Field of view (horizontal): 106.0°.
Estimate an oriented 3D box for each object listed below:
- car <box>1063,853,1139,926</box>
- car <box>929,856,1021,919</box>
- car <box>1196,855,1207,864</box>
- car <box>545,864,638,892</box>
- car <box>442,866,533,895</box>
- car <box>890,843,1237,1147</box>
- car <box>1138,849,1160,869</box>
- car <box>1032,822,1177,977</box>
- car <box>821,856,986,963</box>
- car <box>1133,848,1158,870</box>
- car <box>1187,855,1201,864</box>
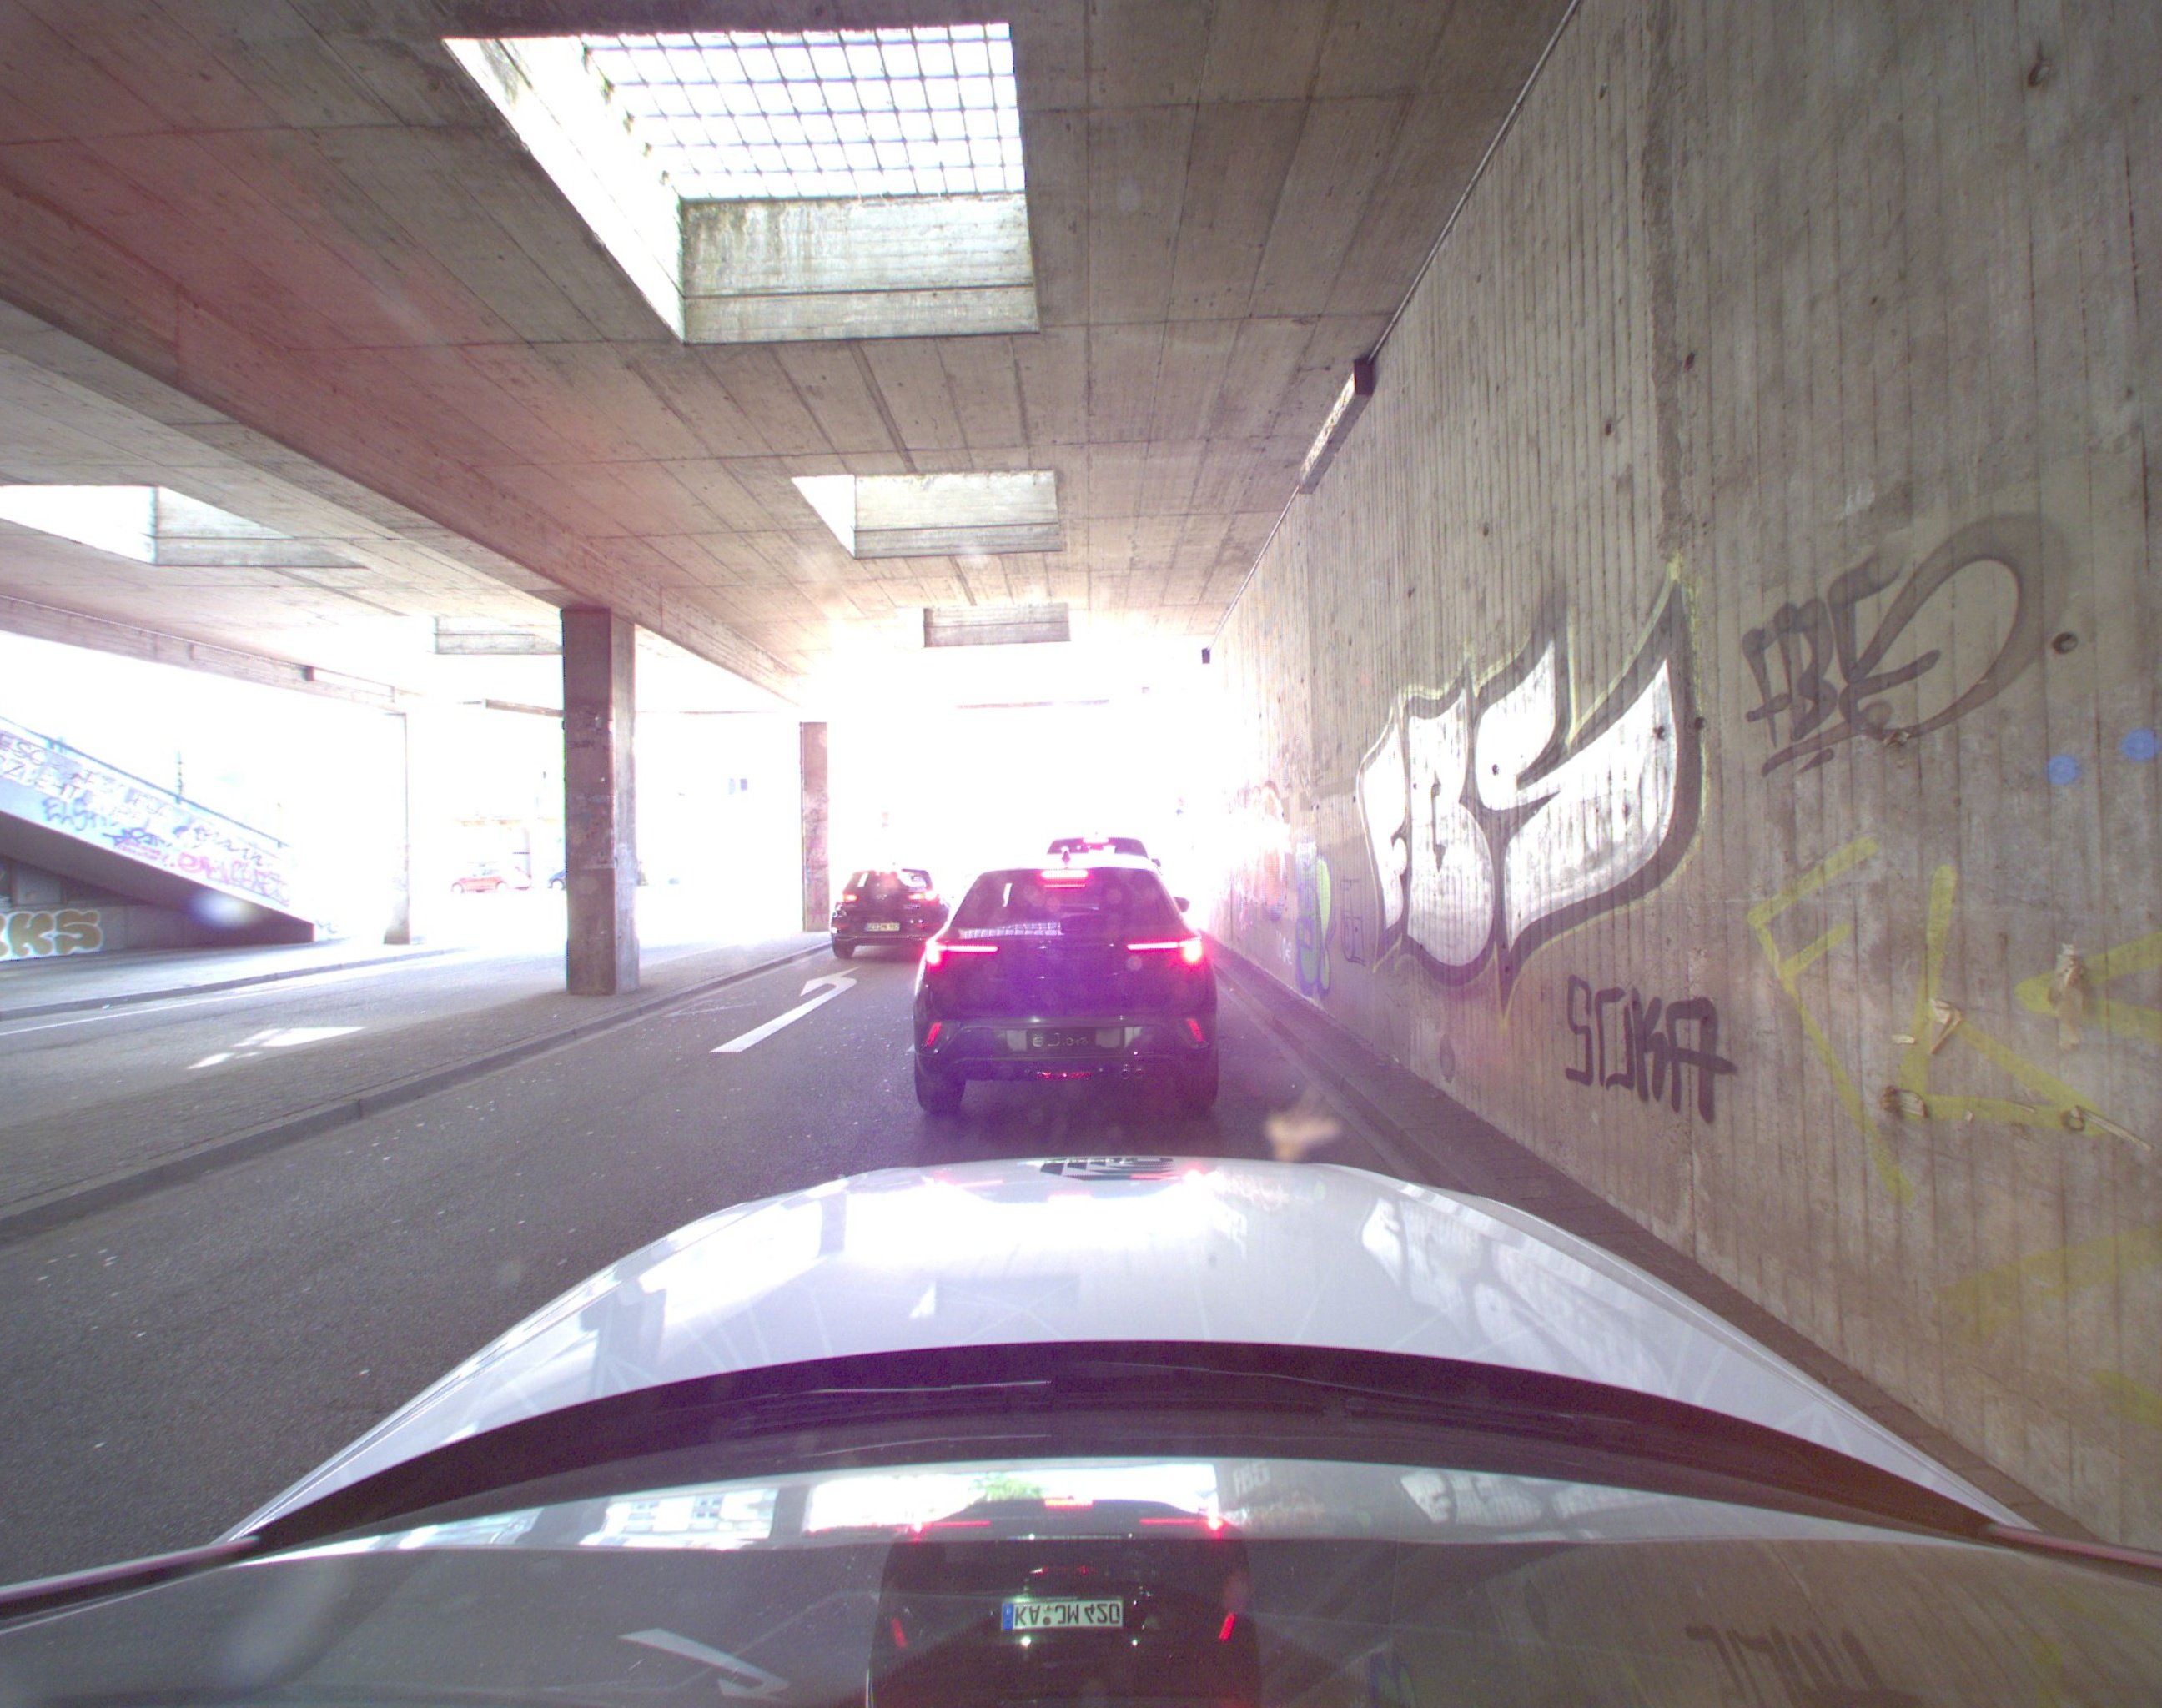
[{"bbox_3d":[0.493,0.761,19.381,1.603,1.513,4.055,-1,0,2],"label":"car"},{"bbox_3d":[-2.660,0.797,21.210,1.755,1.480,3.846,-1,0,2],"label":"car"},{"bbox_3d":[23.285,1.012,157.108,1.742,1.667,3.958,-1,-1,13],"label":"car"},{"bbox_3d":[-27.174,1.327,45.288,4.096,1.475,1.737,-1,-1,0],"label":"car"},{"bbox_3d":[-32.930,1.452,45.265,3.748,1.475,1.749,-1,-1,0],"label":"car"},{"bbox_3d":[-0.027,0.727,6.223,1.755,1.531,4.091,-1,0,2],"label":"car"},{"bbox_3d":[5.753,0.421,68.354,1.745,1.667,3.950,0,-1,6],"label":"car"},{"bbox_3d":[0.357,0.567,12.163,1.755,1.883,4.148,-1,0,2],"label":"car"},{"bbox_3d":[-2.749,0.800,13.482,1.755,1.480,3.846,-1,0,2],"label":"car"},{"bbox_3d":[4.965,0.377,62.250,1.745,1.667,3.950,0,-1,6],"label":"car"},{"bbox_3d":[19.987,0.998,144.037,1.804,1.667,4.835,-1,-1,15],"label":"car"}]
